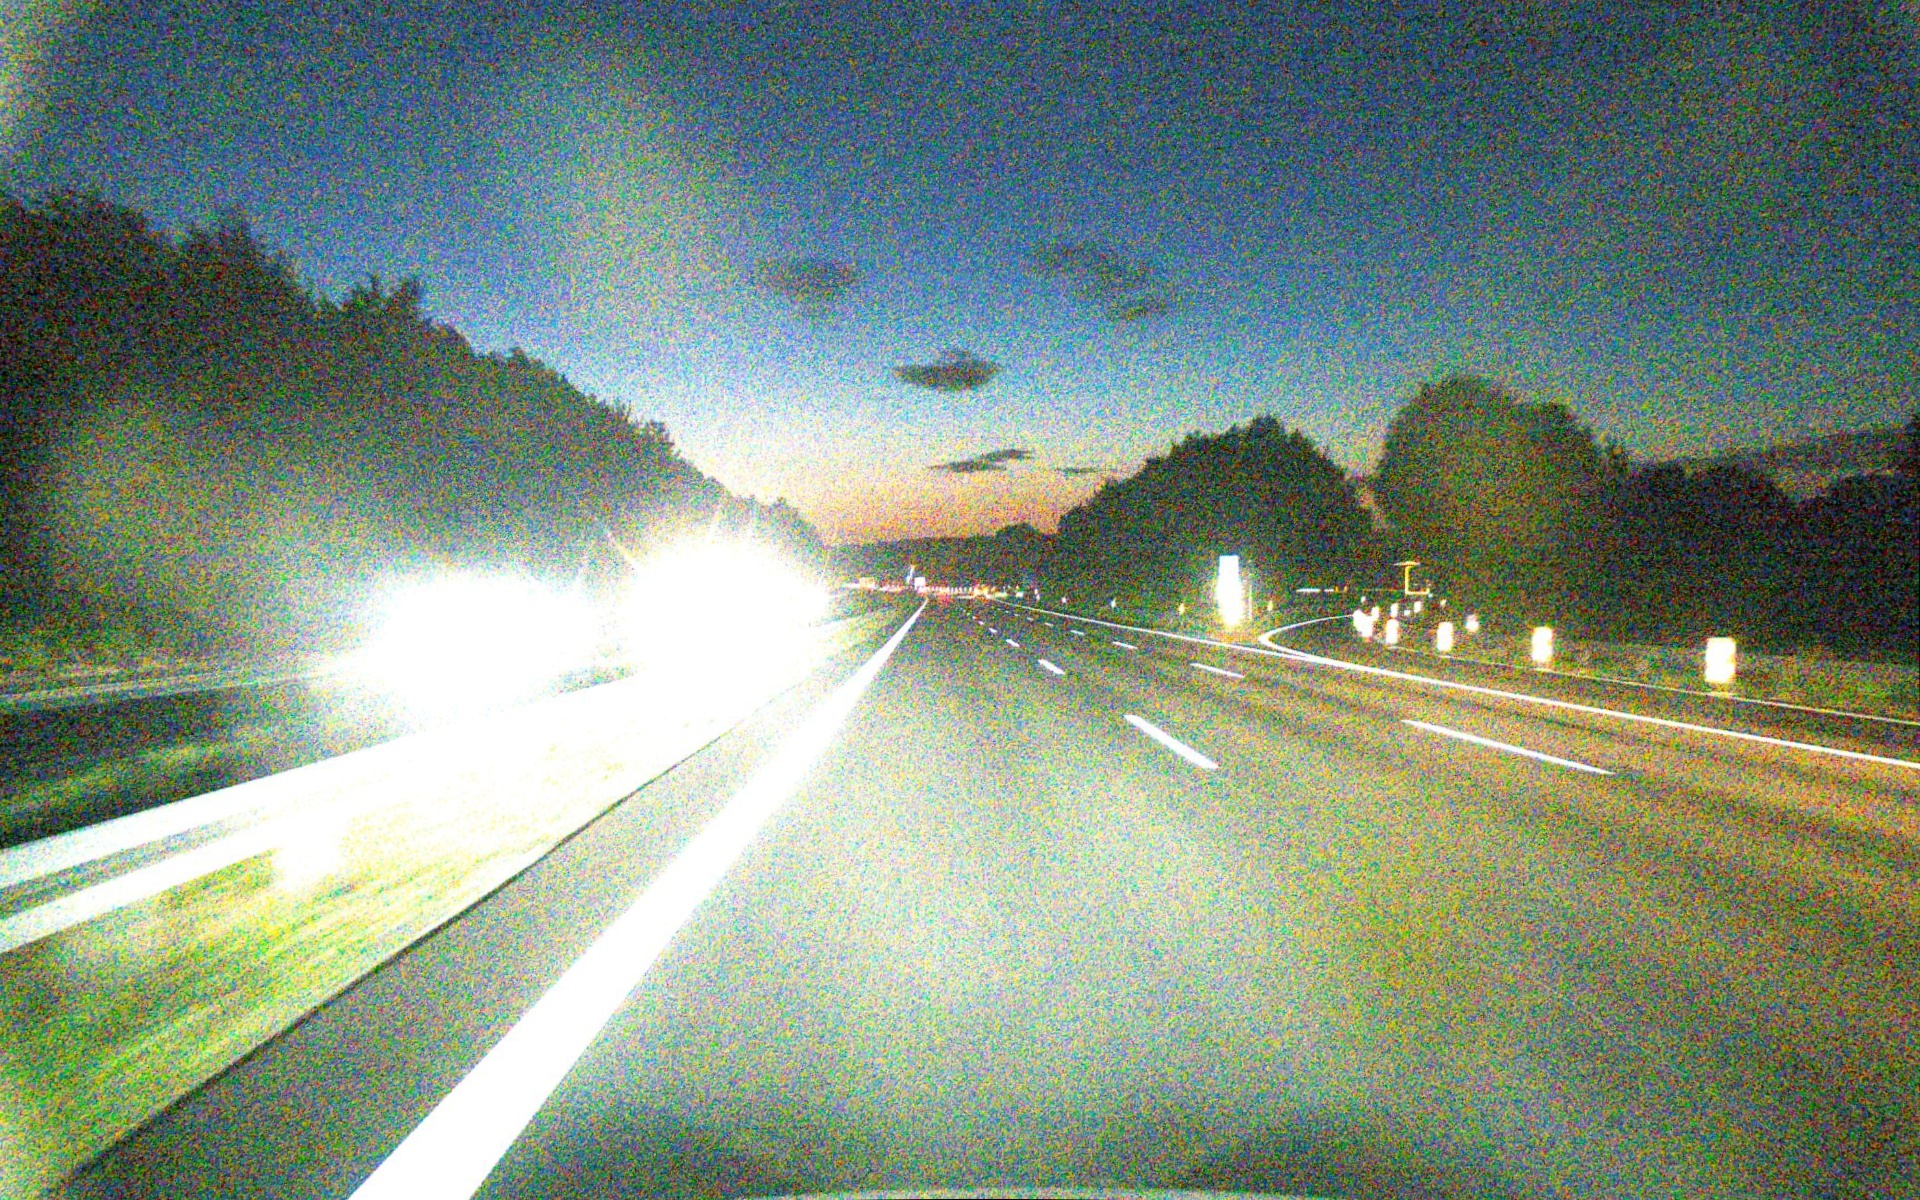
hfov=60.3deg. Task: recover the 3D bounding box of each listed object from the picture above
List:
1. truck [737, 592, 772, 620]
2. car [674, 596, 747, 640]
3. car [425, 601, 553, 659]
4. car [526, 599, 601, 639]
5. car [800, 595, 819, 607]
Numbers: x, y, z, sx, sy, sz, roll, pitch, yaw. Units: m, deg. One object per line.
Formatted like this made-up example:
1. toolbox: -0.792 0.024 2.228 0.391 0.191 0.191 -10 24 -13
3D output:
1. truck: -15.326 0.448 123.549 1.953 1.976 5.240 -1 0 0
2. car: -9.233 0.631 61.452 1.953 1.487 4.899 -2 0 0
3. car: -12.709 0.775 45.022 1.953 1.418 5.704 -1 0 -1
4. car: -16.238 0.743 67.917 1.953 1.511 4.799 -1 0 -1
5. car: -18.801 0.115 206.607 1.953 1.530 5.200 -2 0 -1
